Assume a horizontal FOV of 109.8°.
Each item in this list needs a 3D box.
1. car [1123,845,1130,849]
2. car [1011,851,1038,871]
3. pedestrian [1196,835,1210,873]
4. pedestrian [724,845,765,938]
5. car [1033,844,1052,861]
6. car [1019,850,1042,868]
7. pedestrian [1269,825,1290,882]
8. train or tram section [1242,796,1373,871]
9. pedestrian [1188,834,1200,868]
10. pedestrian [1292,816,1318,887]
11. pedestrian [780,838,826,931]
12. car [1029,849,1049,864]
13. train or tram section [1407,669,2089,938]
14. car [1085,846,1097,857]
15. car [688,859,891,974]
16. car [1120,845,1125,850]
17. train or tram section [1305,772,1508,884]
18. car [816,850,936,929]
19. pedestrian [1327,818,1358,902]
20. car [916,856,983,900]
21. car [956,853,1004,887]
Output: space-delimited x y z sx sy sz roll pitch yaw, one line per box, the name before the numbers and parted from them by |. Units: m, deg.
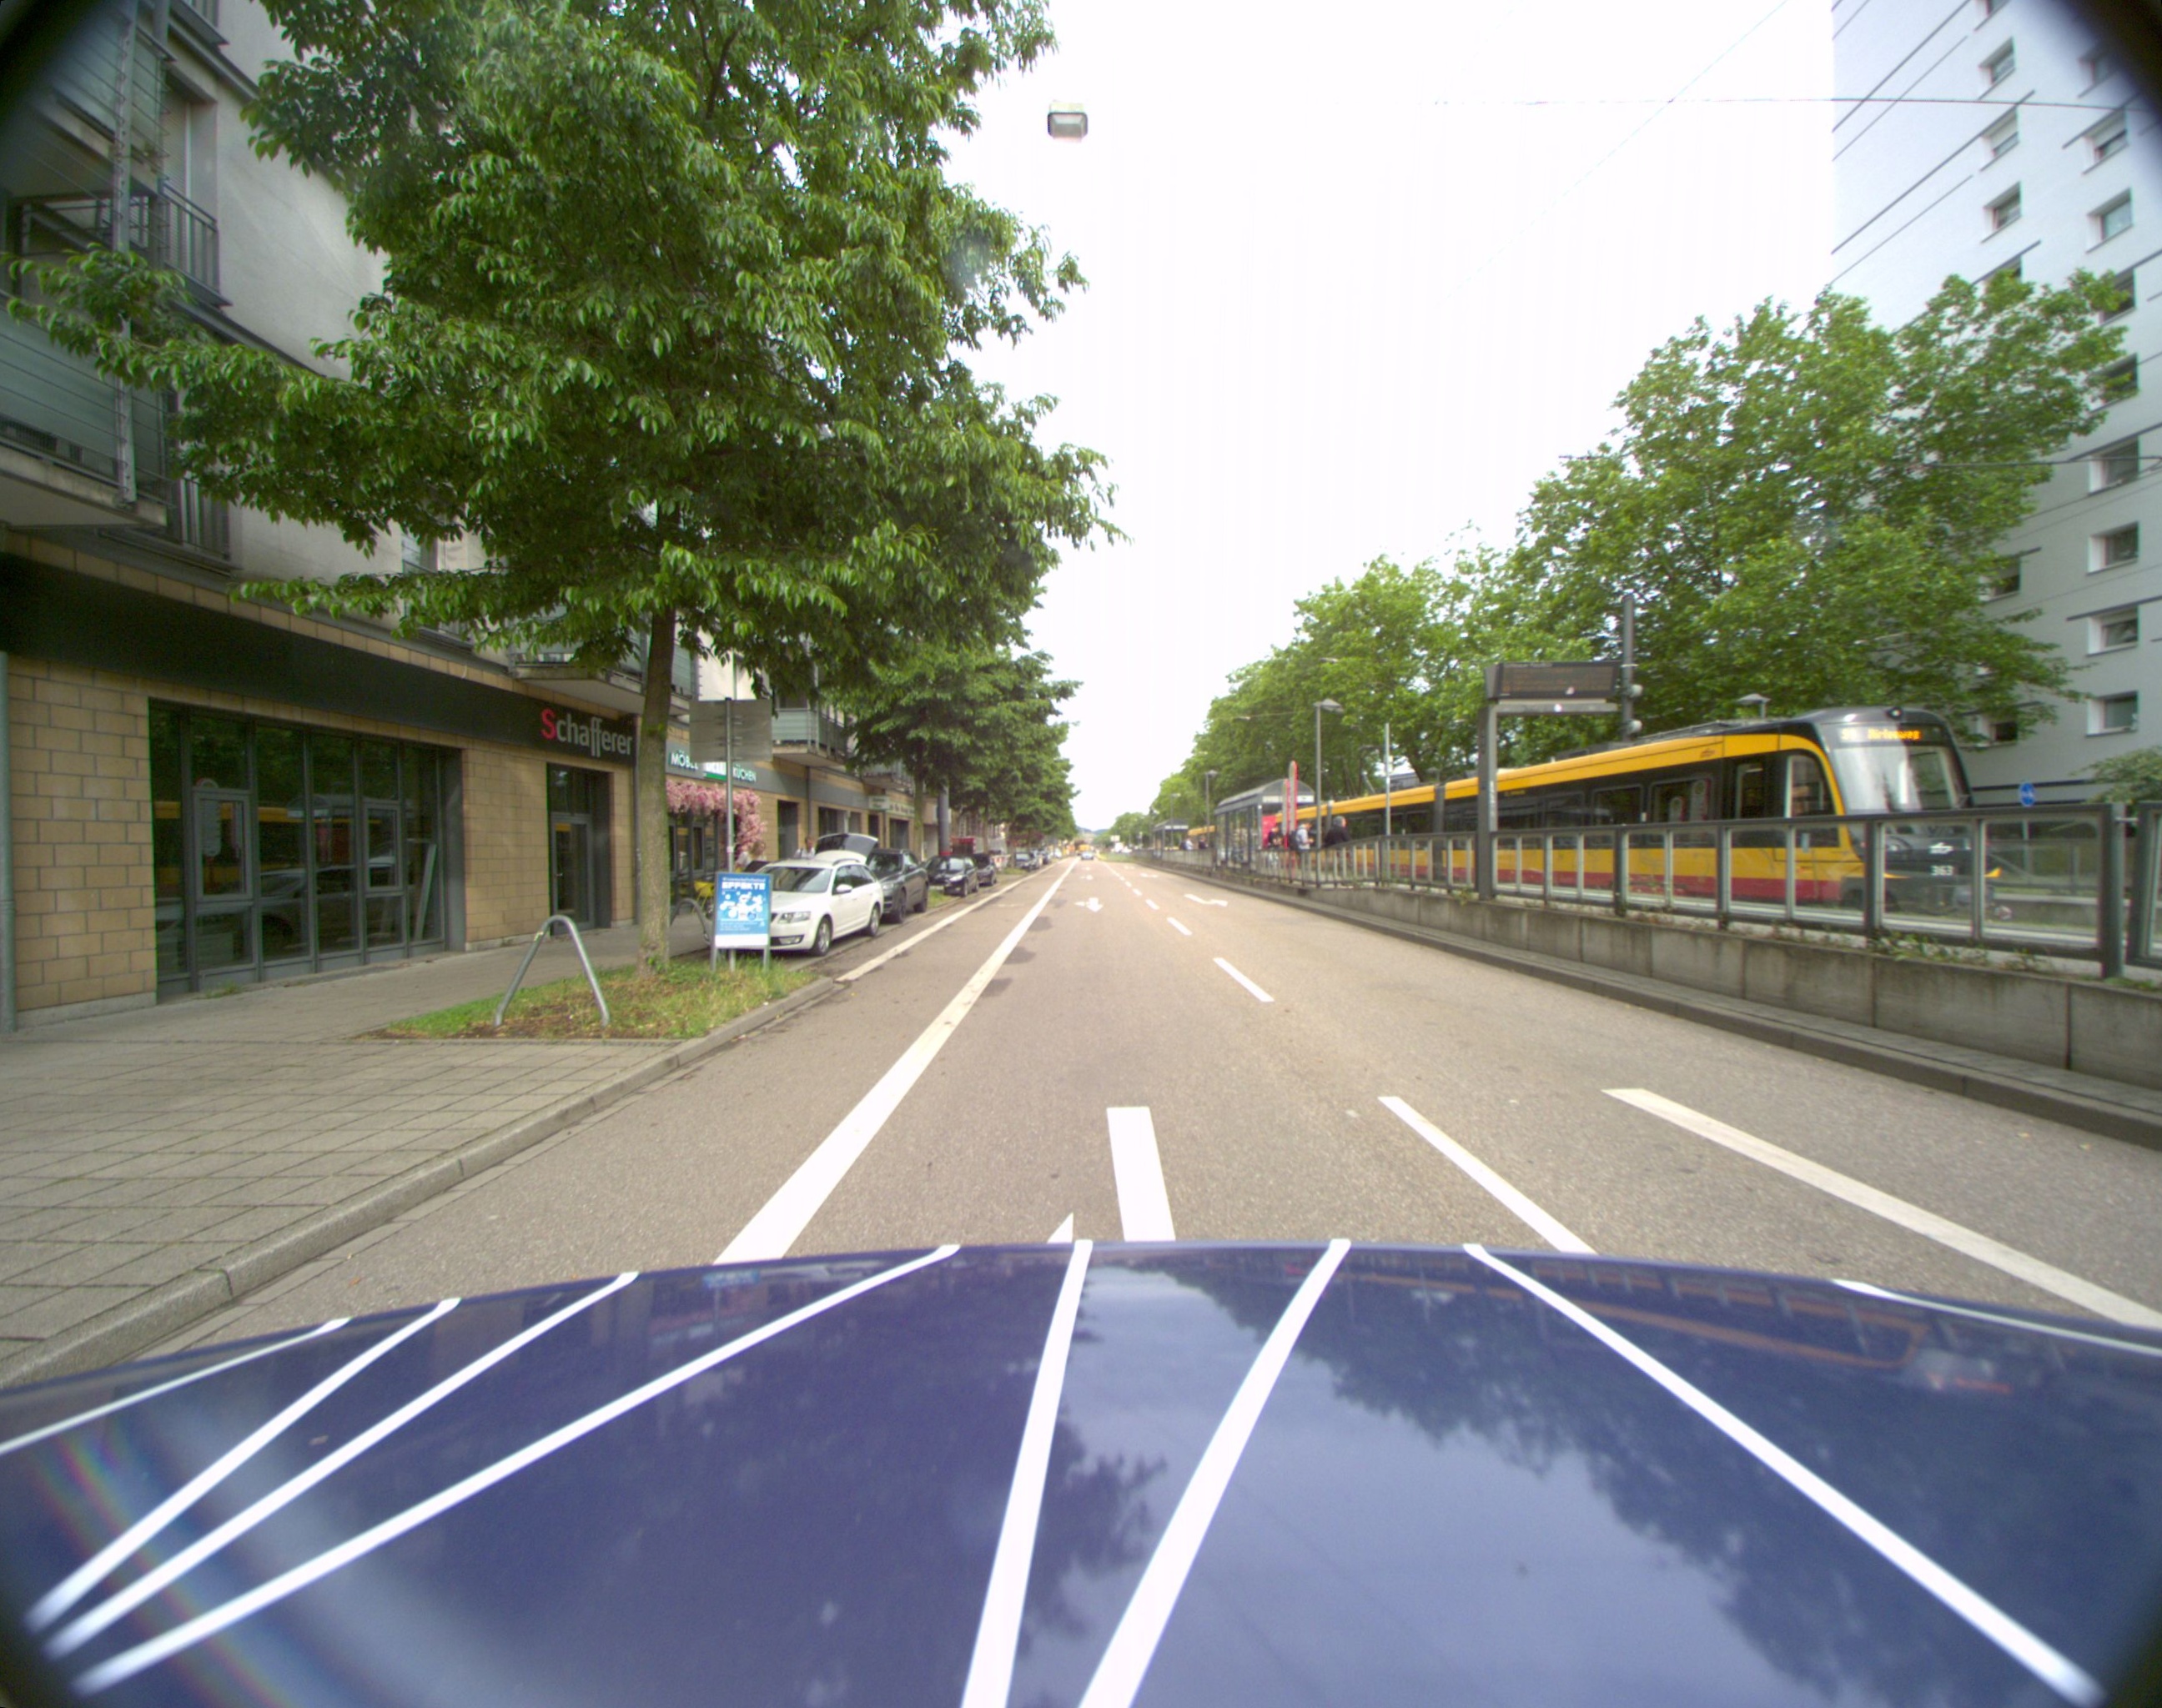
car | 14.059 -2.119 235.922 1.716 1.379 4.098 -1 1 -1
car | -4.153 0.483 56.275 1.612 1.393 3.667 2 1 1
pedestrian | 5.857 0.003 36.552 0.530 1.794 0.606 -2 1 14
pedestrian | -6.338 0.681 14.349 0.618 1.707 0.737 0 1 -17
car | -3.950 -0.135 78.251 1.612 1.674 3.806 2 1 1
car | -4.112 0.369 62.194 1.612 1.393 3.667 2 1 1
pedestrian | 6.321 -0.025 24.228 0.474 1.794 0.606 -2 1 26
train or tram section | 13.242 -1.132 46.797 3.338 3.731 16.247 -2 1 1
pedestrian | 6.150 -0.175 41.369 0.530 1.794 0.606 -2 1 14
pedestrian | 5.762 -0.062 19.576 0.475 1.794 0.605 -2 1 5
pedestrian | -5.694 0.611 15.591 0.656 1.873 0.599 -1 1 1
car | -3.956 0.214 72.480 1.612 1.393 3.667 2 1 1
train or tram section | 12.835 -0.800 18.482 3.338 3.731 15.202 -2 1 1
car | 1.477 -0.381 109.973 1.716 1.379 4.099 -2 1 1
car | -4.711 0.903 13.030 1.738 1.512 4.308 2 1 1
car | 13.829 -2.173 252.153 1.715 1.379 4.099 -1 1 2
train or tram section | 13.043 -0.963 32.380 3.338 3.731 12.547 -2 1 1
car | -4.707 0.744 18.033 1.738 1.601 3.798 2 1 1
pedestrian | 5.714 0.122 16.608 0.521 1.794 0.605 -2 1 13
car | -4.628 0.797 27.305 1.612 1.369 4.167 2 1 1
car | -4.547 0.687 34.766 1.612 1.393 3.667 2 1 1
